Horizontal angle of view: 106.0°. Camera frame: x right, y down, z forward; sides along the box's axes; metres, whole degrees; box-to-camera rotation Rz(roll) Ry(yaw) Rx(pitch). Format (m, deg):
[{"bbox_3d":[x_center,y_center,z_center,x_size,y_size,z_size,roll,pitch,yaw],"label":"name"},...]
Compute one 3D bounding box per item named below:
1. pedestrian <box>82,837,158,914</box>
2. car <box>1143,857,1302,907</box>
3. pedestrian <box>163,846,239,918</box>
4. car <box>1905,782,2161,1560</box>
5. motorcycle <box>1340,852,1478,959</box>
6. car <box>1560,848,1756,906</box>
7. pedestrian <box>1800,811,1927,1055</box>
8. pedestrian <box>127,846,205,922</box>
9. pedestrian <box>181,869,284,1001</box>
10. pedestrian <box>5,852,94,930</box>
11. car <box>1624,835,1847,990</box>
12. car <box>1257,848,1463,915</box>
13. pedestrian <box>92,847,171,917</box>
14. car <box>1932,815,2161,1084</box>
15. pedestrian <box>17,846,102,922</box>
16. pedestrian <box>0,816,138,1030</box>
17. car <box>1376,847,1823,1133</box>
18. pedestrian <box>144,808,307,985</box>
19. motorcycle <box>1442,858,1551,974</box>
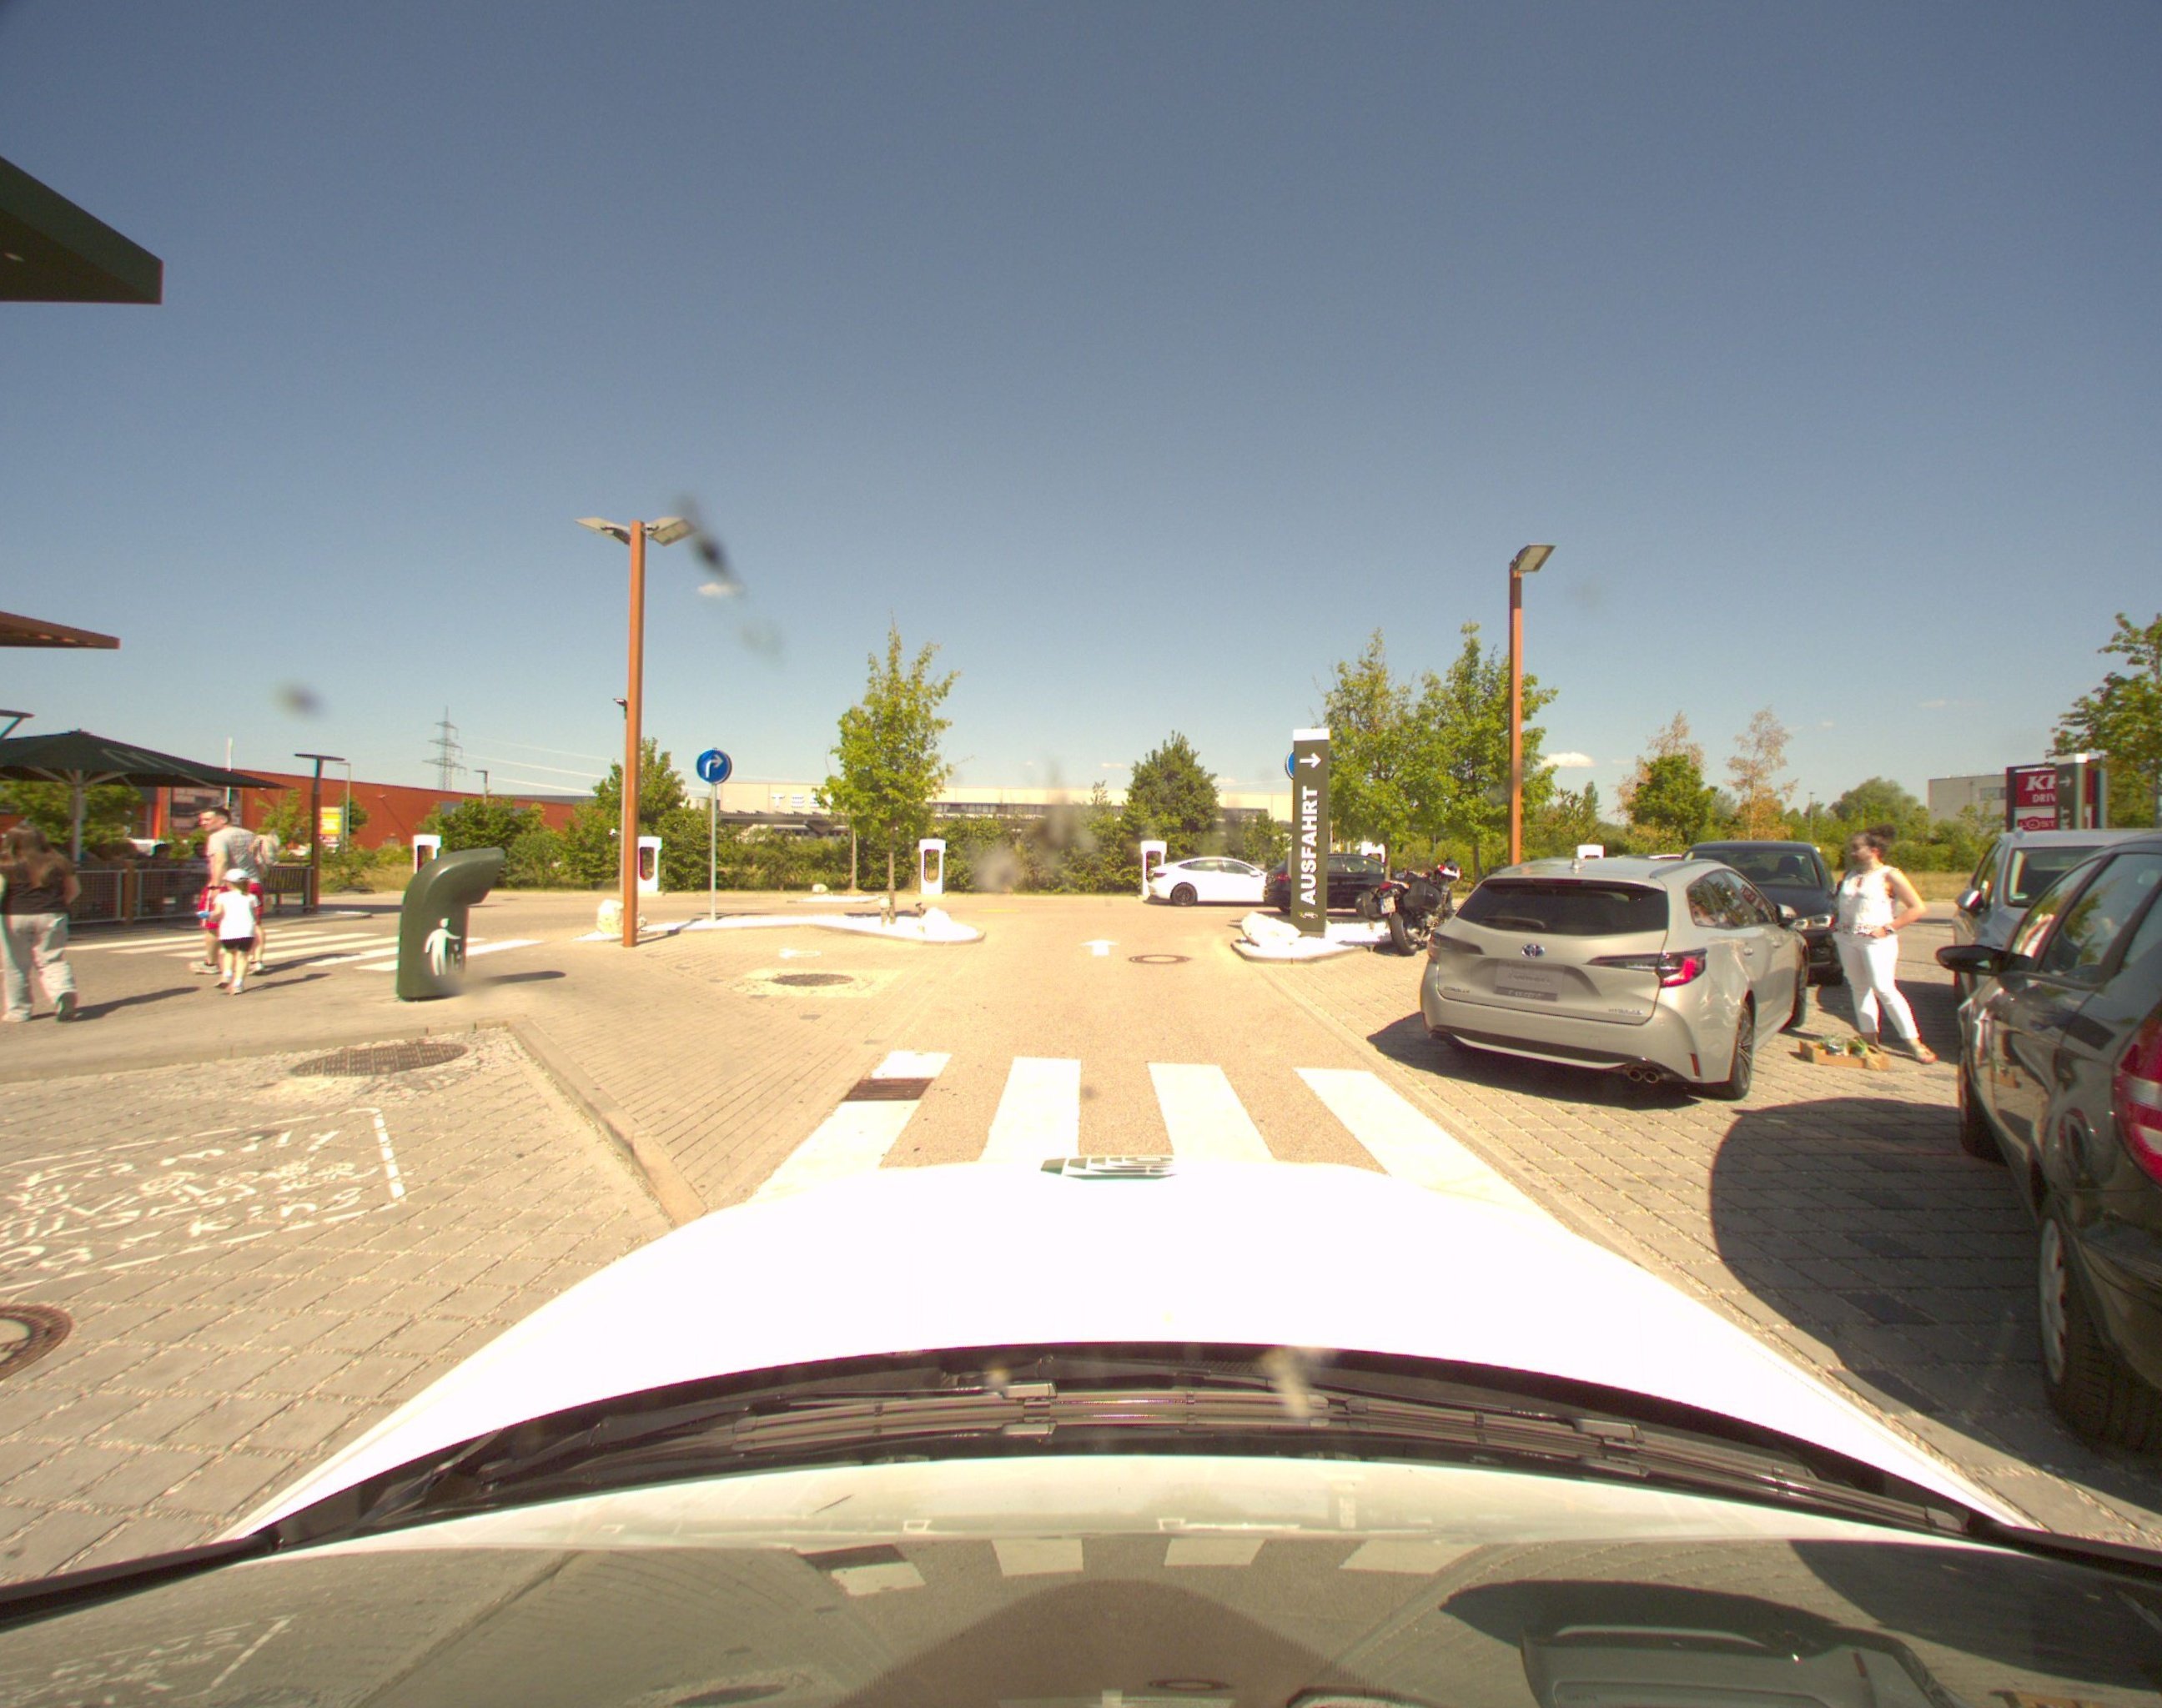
[{"bbox_3d":[-16.124,0.357,13.676,0.521,1.258,0.634,0,0,-4],"label":"pedestrian"},{"bbox_3d":[4.048,0.780,23.861,4.416,1.377,1.824,0,0,3],"label":"car"},{"bbox_3d":[-15.877,0.491,14.709,0.570,1.258,0.728,0,0,-5],"label":"pedestrian"},{"bbox_3d":[4.062,0.656,2.682,1.789,1.593,4.024,0,0,44],"label":"car"},{"bbox_3d":[4.592,0.639,11.301,1.057,1.250,2.266,2,2,42],"label":"motorcycle"},{"bbox_3d":[16.808,0.652,23.889,4.459,1.600,1.870,0,0,0],"label":"car"},{"bbox_3d":[5.864,0.551,6.110,0.566,1.713,0.604,0,0,-37],"label":"pedestrian"},{"bbox_3d":[-15.500,0.500,13.811,0.521,1.258,0.715,0,0,-4],"label":"pedestrian"},{"bbox_3d":[-7.955,0.740,7.650,0.489,1.186,0.448,0,0,-6],"label":"pedestrian"},{"bbox_3d":[-15.349,0.535,12.133,0.521,1.124,0.634,0,0,-4],"label":"pedestrian"},{"bbox_3d":[8.359,0.556,10.271,1.872,1.537,4.216,0,1,43],"label":"car"},{"bbox_3d":[6.232,0.627,18.577,4.180,1.441,1.700,0,-2,5],"label":"car"},{"bbox_3d":[-17.302,0.494,14.854,0.570,1.258,0.728,0,0,-5],"label":"pedestrian"},{"bbox_3d":[7.991,0.573,6.450,4.090,1.640,1.726,0,0,-44],"label":"car"},{"bbox_3d":[-17.311,0.500,13.817,0.521,1.258,0.715,0,0,-4],"label":"pedestrian"},{"bbox_3d":[-8.278,0.509,6.473,0.722,1.583,0.743,0,0,10],"label":"pedestrian"},{"bbox_3d":[4.350,0.687,6.444,4.688,1.447,1.814,-1,1,-42],"label":"car"},{"bbox_3d":[-9.027,0.420,8.641,0.800,1.768,0.894,0,0,-9],"label":"pedestrian"},{"bbox_3d":[5.231,0.698,10.167,0.810,1.231,2.155,1,1,38],"label":"motorcycle"}]
